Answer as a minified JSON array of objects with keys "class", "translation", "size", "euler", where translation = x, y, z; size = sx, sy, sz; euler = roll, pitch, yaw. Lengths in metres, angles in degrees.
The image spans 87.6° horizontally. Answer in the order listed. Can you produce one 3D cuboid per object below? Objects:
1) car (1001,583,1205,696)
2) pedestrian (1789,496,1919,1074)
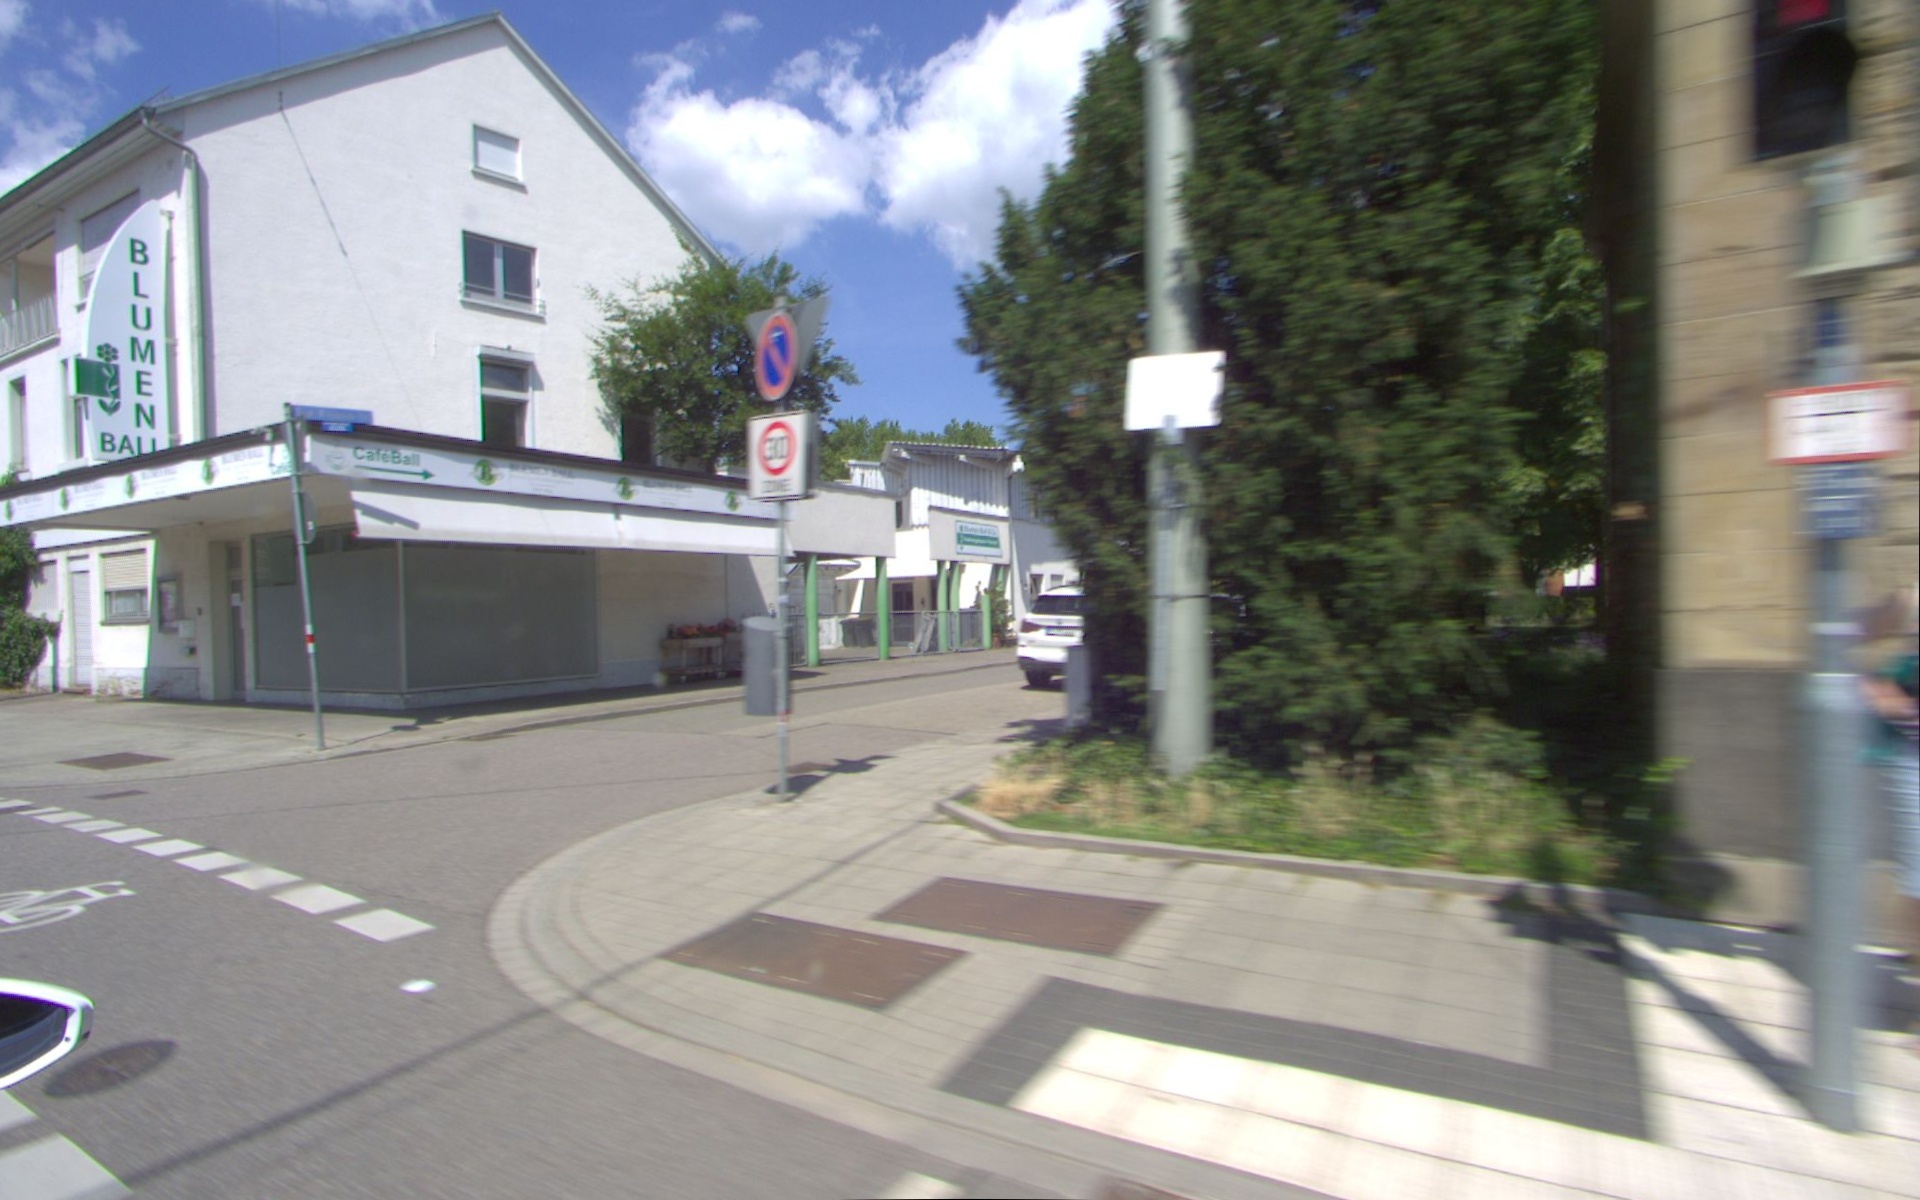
[{"class":"car","translation":[2.603,0.574,17.265],"size":[1.915,1.678,4.394],"euler":[1,1,31]},{"class":"pedestrian","translation":[3.045,0.538,3.046],"size":[0.558,1.688,0.677],"euler":[-2,1,-36]}]
